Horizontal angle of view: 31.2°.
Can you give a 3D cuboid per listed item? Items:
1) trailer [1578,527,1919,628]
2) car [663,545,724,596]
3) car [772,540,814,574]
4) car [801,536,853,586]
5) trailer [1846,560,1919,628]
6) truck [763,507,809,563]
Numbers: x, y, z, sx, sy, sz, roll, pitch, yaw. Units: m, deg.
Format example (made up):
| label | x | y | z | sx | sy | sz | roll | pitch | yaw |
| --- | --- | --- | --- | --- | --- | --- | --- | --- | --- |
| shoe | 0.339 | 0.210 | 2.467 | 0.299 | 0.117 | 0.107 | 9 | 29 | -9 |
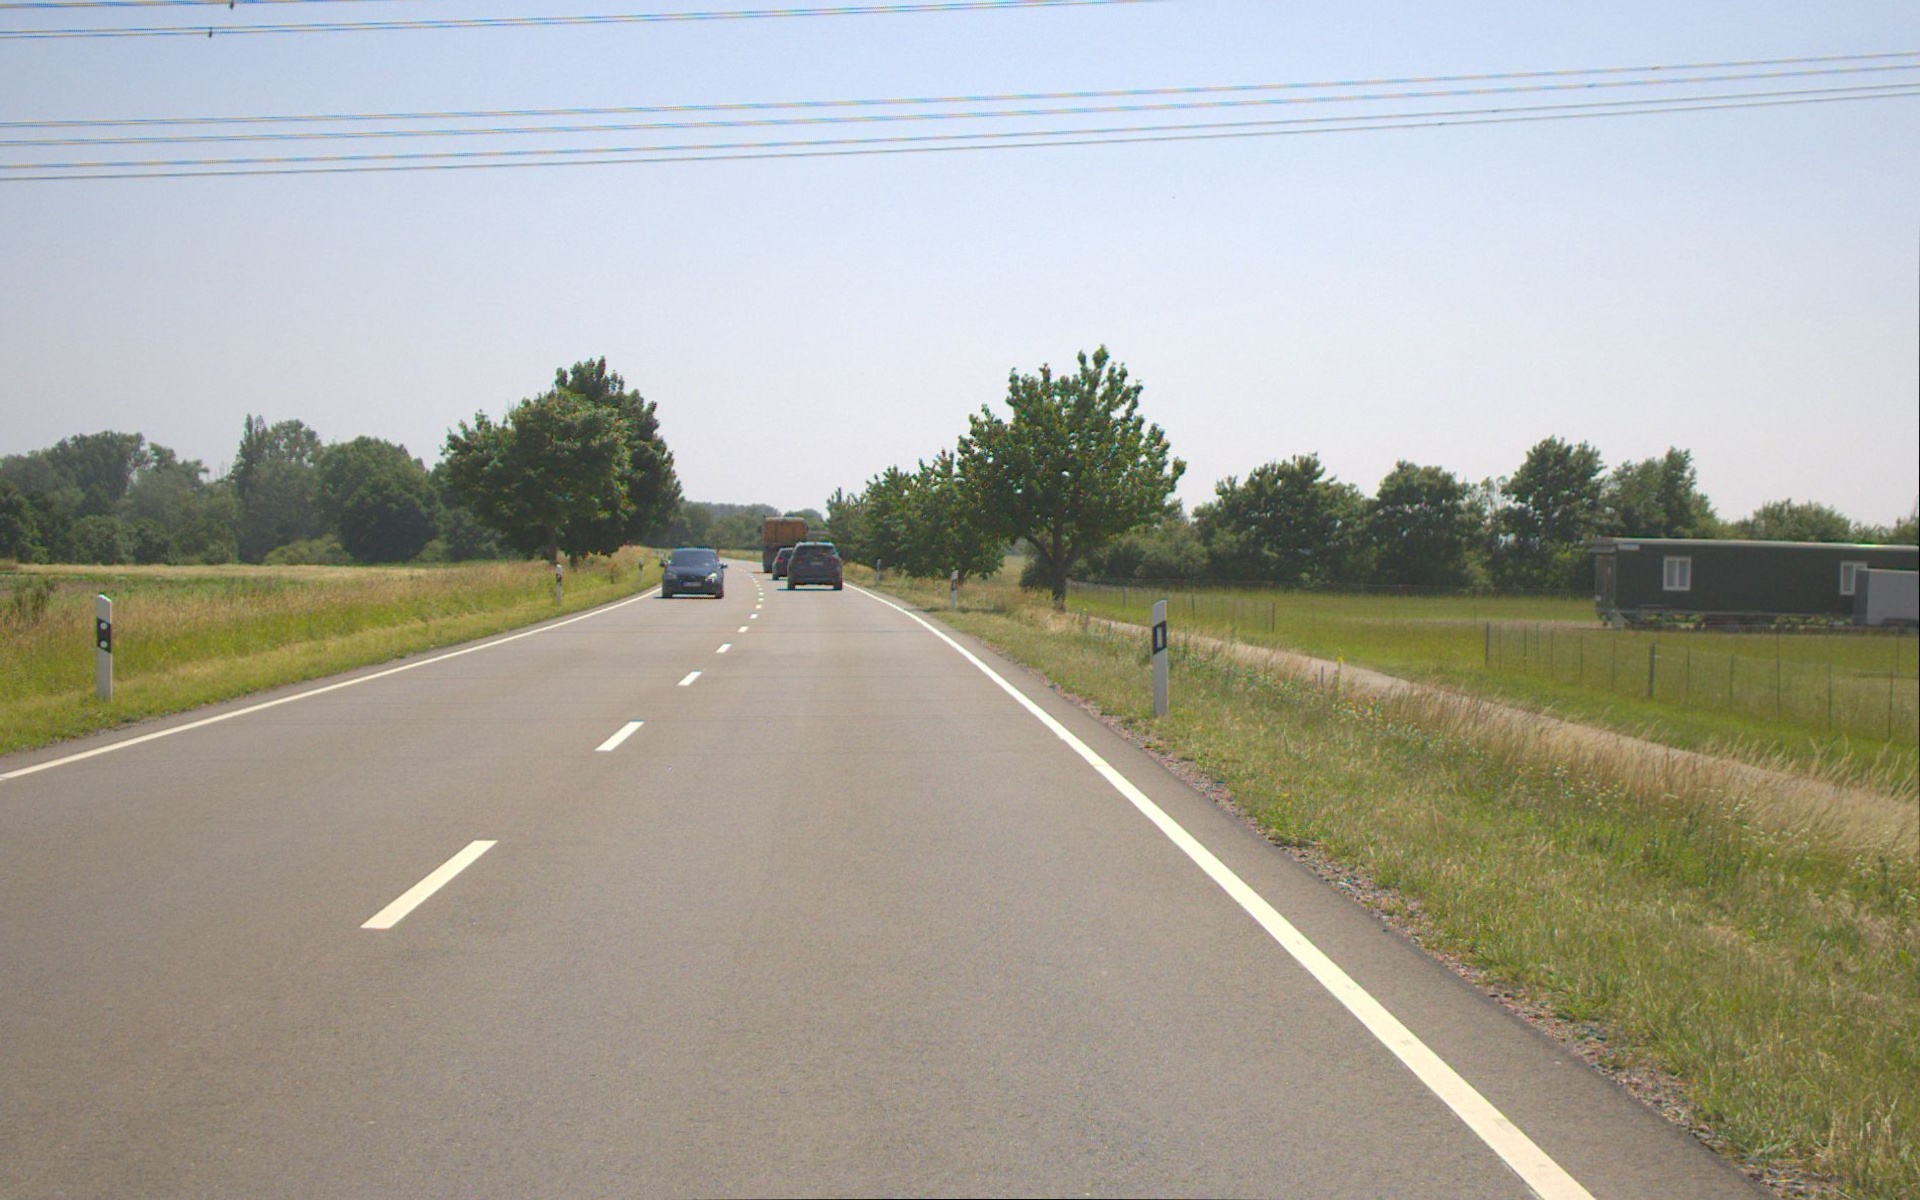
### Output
| label | x | y | z | sx | sy | sz | roll | pitch | yaw |
| --- | --- | --- | --- | --- | --- | --- | --- | --- | --- |
| trailer | 30.179 | -0.882 | 131.044 | 12.409 | 3.461 | 3.806 | 2 | 1 | -4 |
| car | -7.843 | -0.878 | 100.869 | 1.734 | 1.442 | 4.001 | 1 | 1 | -5 |
| car | -7.581 | -1.949 | 155.984 | 1.850 | 1.517 | 4.001 | 1 | 1 | -4 |
| car | -4.673 | -1.367 | 120.494 | 1.714 | 1.688 | 3.989 | 1 | 1 | -3 |
| trailer | 35.386 | -0.197 | 128.327 | 3.986 | 2.434 | 2.000 | 2 | 1 | -6 |
| truck | -10.003 | -3.675 | 196.809 | 2.370 | 3.129 | 8.749 | 1 | 1 | -4 |
